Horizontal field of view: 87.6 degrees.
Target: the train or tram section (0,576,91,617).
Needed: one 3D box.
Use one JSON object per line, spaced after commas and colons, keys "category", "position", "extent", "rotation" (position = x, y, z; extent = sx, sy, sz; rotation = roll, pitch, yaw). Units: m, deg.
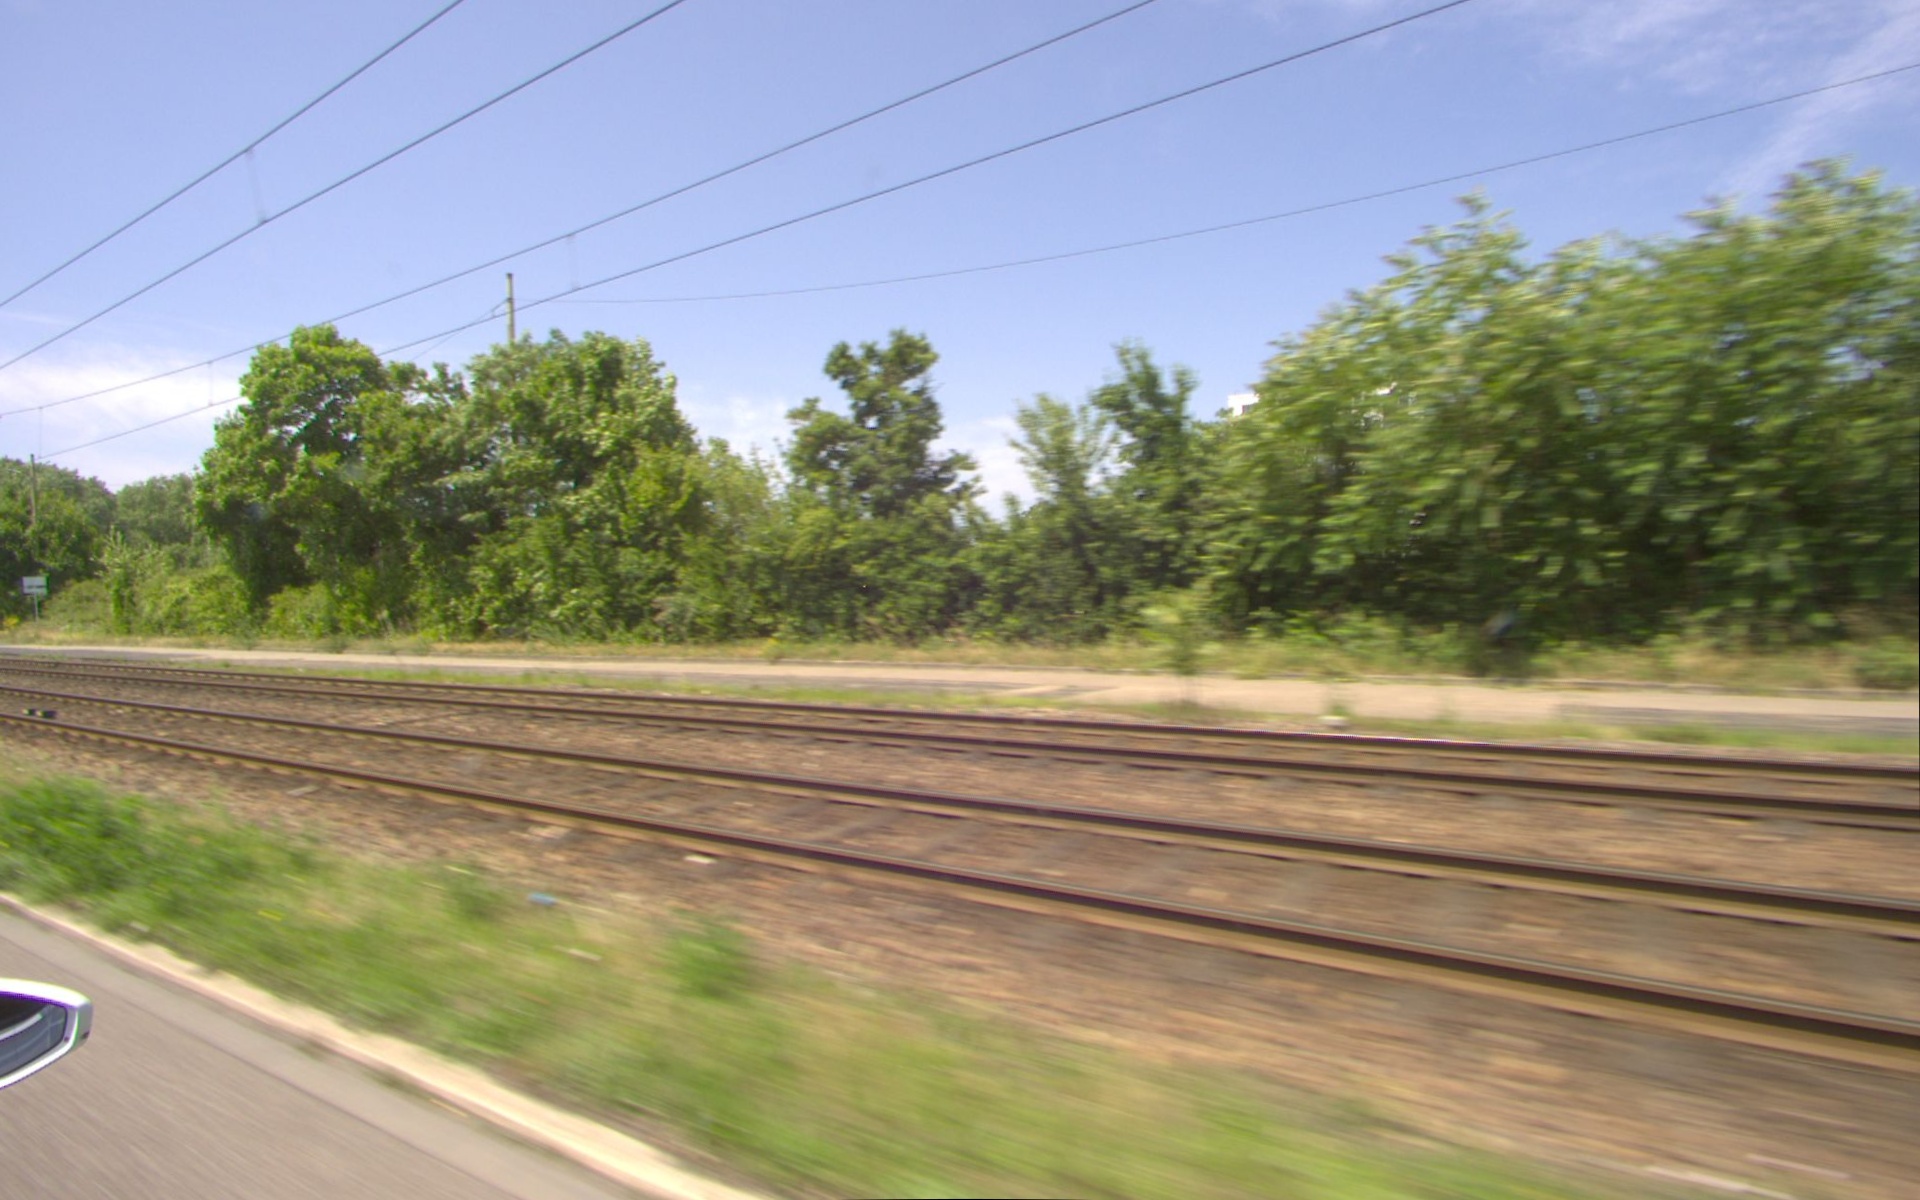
{"category": "train or tram section", "position": [-103.053, -0.264, 107.825], "extent": [13.834, 3.969, 2.911], "rotation": [-3, -1, -29]}
